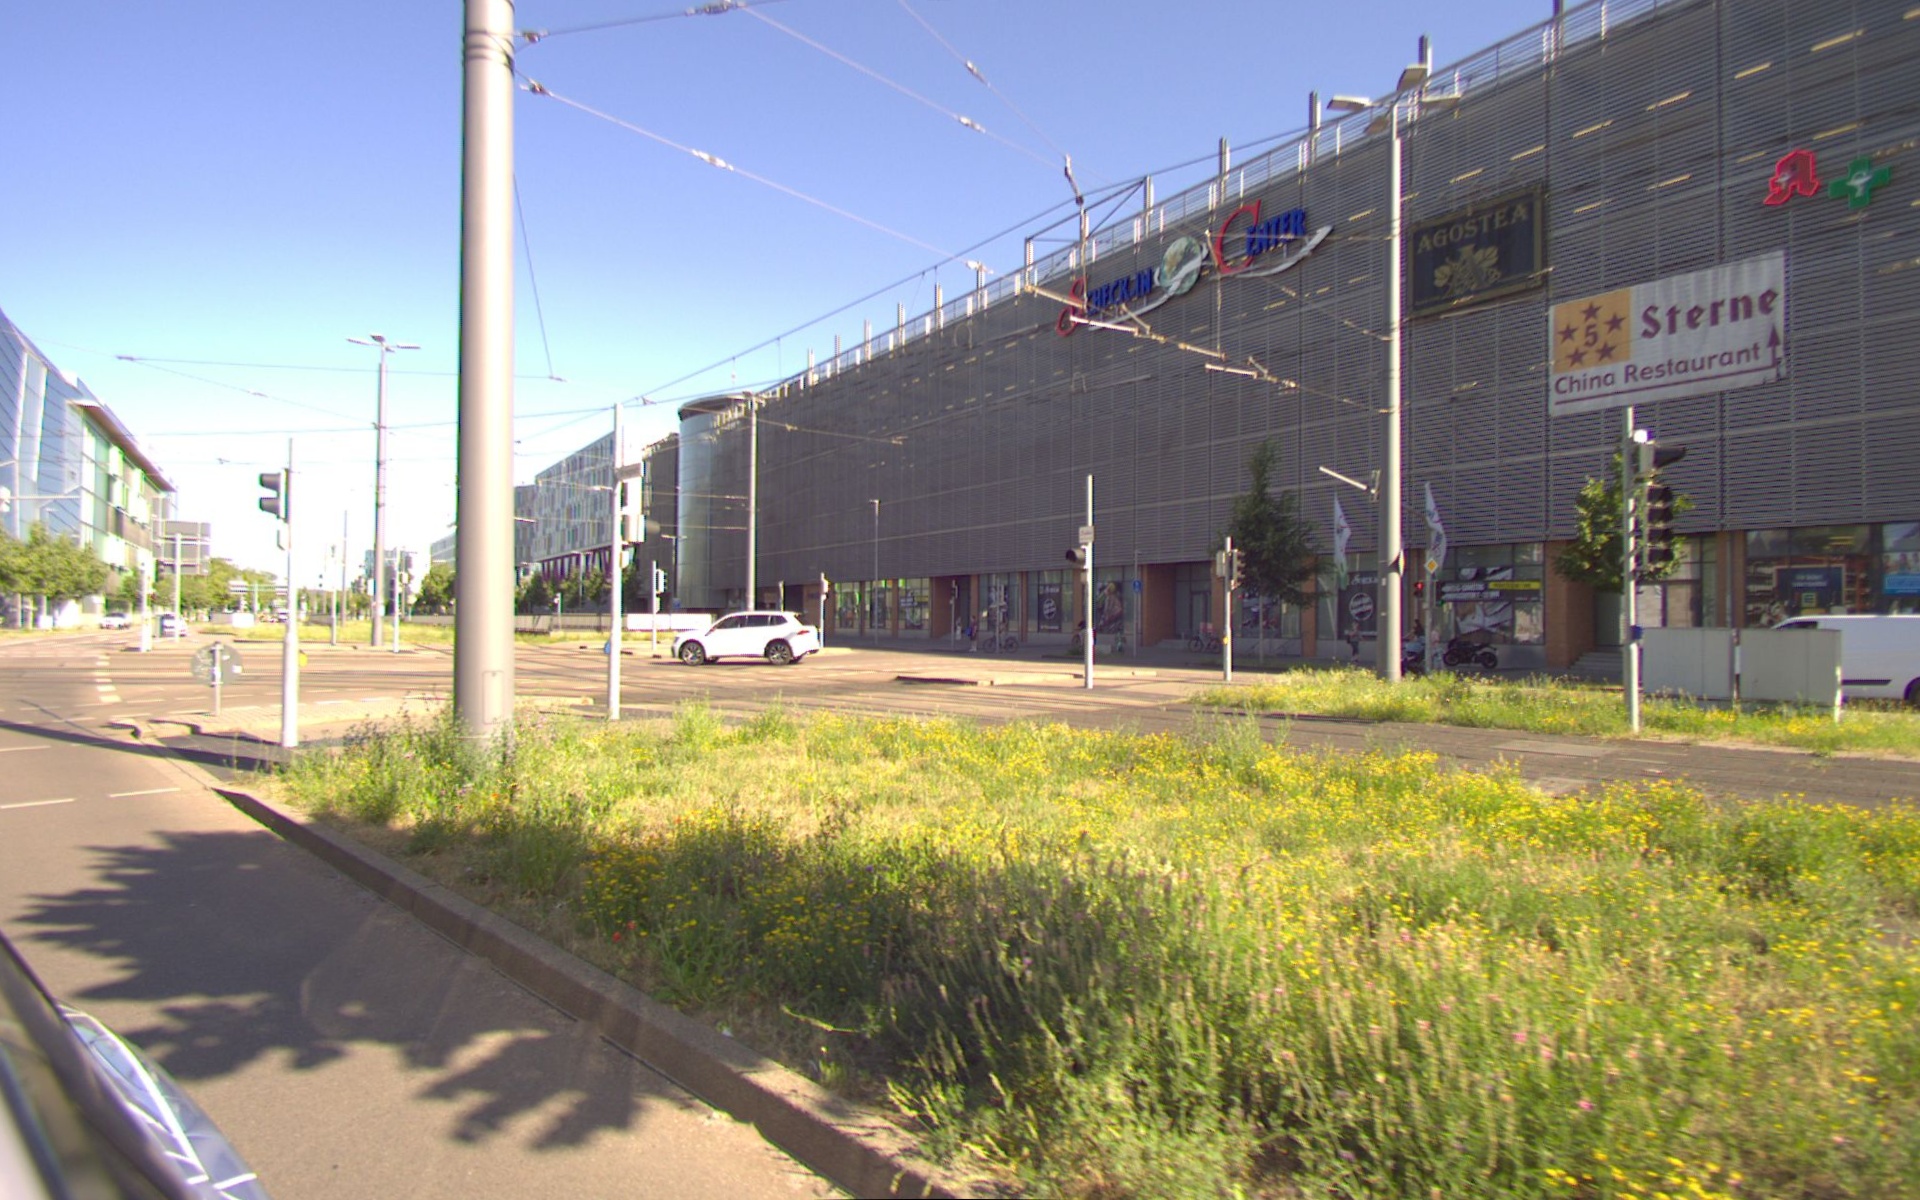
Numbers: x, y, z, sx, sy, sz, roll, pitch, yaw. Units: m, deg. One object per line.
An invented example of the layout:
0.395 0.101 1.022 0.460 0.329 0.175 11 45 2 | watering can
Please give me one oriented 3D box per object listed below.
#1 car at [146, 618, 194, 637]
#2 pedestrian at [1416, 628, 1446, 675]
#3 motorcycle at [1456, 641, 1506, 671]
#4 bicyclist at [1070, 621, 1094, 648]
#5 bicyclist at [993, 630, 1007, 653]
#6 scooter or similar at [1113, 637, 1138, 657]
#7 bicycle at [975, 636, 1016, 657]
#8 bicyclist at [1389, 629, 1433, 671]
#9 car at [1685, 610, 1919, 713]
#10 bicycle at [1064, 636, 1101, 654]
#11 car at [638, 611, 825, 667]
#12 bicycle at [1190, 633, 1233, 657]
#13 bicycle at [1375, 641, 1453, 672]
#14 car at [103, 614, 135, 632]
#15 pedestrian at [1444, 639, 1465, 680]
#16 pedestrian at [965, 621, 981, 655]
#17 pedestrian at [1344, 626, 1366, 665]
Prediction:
-47.507 1.615 60.903 1.966 1.098 4.010 1 -2 -34 | car
15.247 1.661 32.756 0.481 1.498 0.743 1 -1 -26 | pedestrian
18.872 2.027 36.692 0.395 1.046 1.623 1 -2 -35 | motorcycle
6.265 1.766 51.857 0.671 1.328 1.042 1 -2 -36 | bicyclist
2.018 2.092 50.724 0.559 1.148 0.556 0 -2 21 | bicyclist
7.454 2.113 45.668 0.296 0.857 1.229 1 -2 -38 | scooter or similar
1.773 2.327 50.821 2.007 0.993 0.555 0 -1 22 | bicycle
15.958 1.755 35.821 0.584 1.418 1.316 1 -2 -34 | bicyclist
18.809 1.244 21.494 2.195 2.029 5.259 2 -2 -45 | car
6.258 2.279 51.824 0.671 0.874 2.053 1 -2 -36 | bicycle
-7.156 1.220 31.931 5.479 1.664 1.810 0 -1 7 | car
11.637 2.065 46.871 0.564 1.046 1.954 2 -2 -39 | bicycle
16.003 1.983 35.753 0.588 1.018 2.575 1 -2 -34 | bicycle
-82.505 2.220 99.364 1.966 1.741 4.010 1 -2 -34 | car
15.430 1.852 31.578 0.391 1.238 0.450 1 -1 -11 | pedestrian
0.665 1.975 53.054 0.624 1.764 0.582 -1 -2 36 | pedestrian
15.556 1.784 39.846 0.483 1.530 0.651 1 -2 -31 | pedestrian
